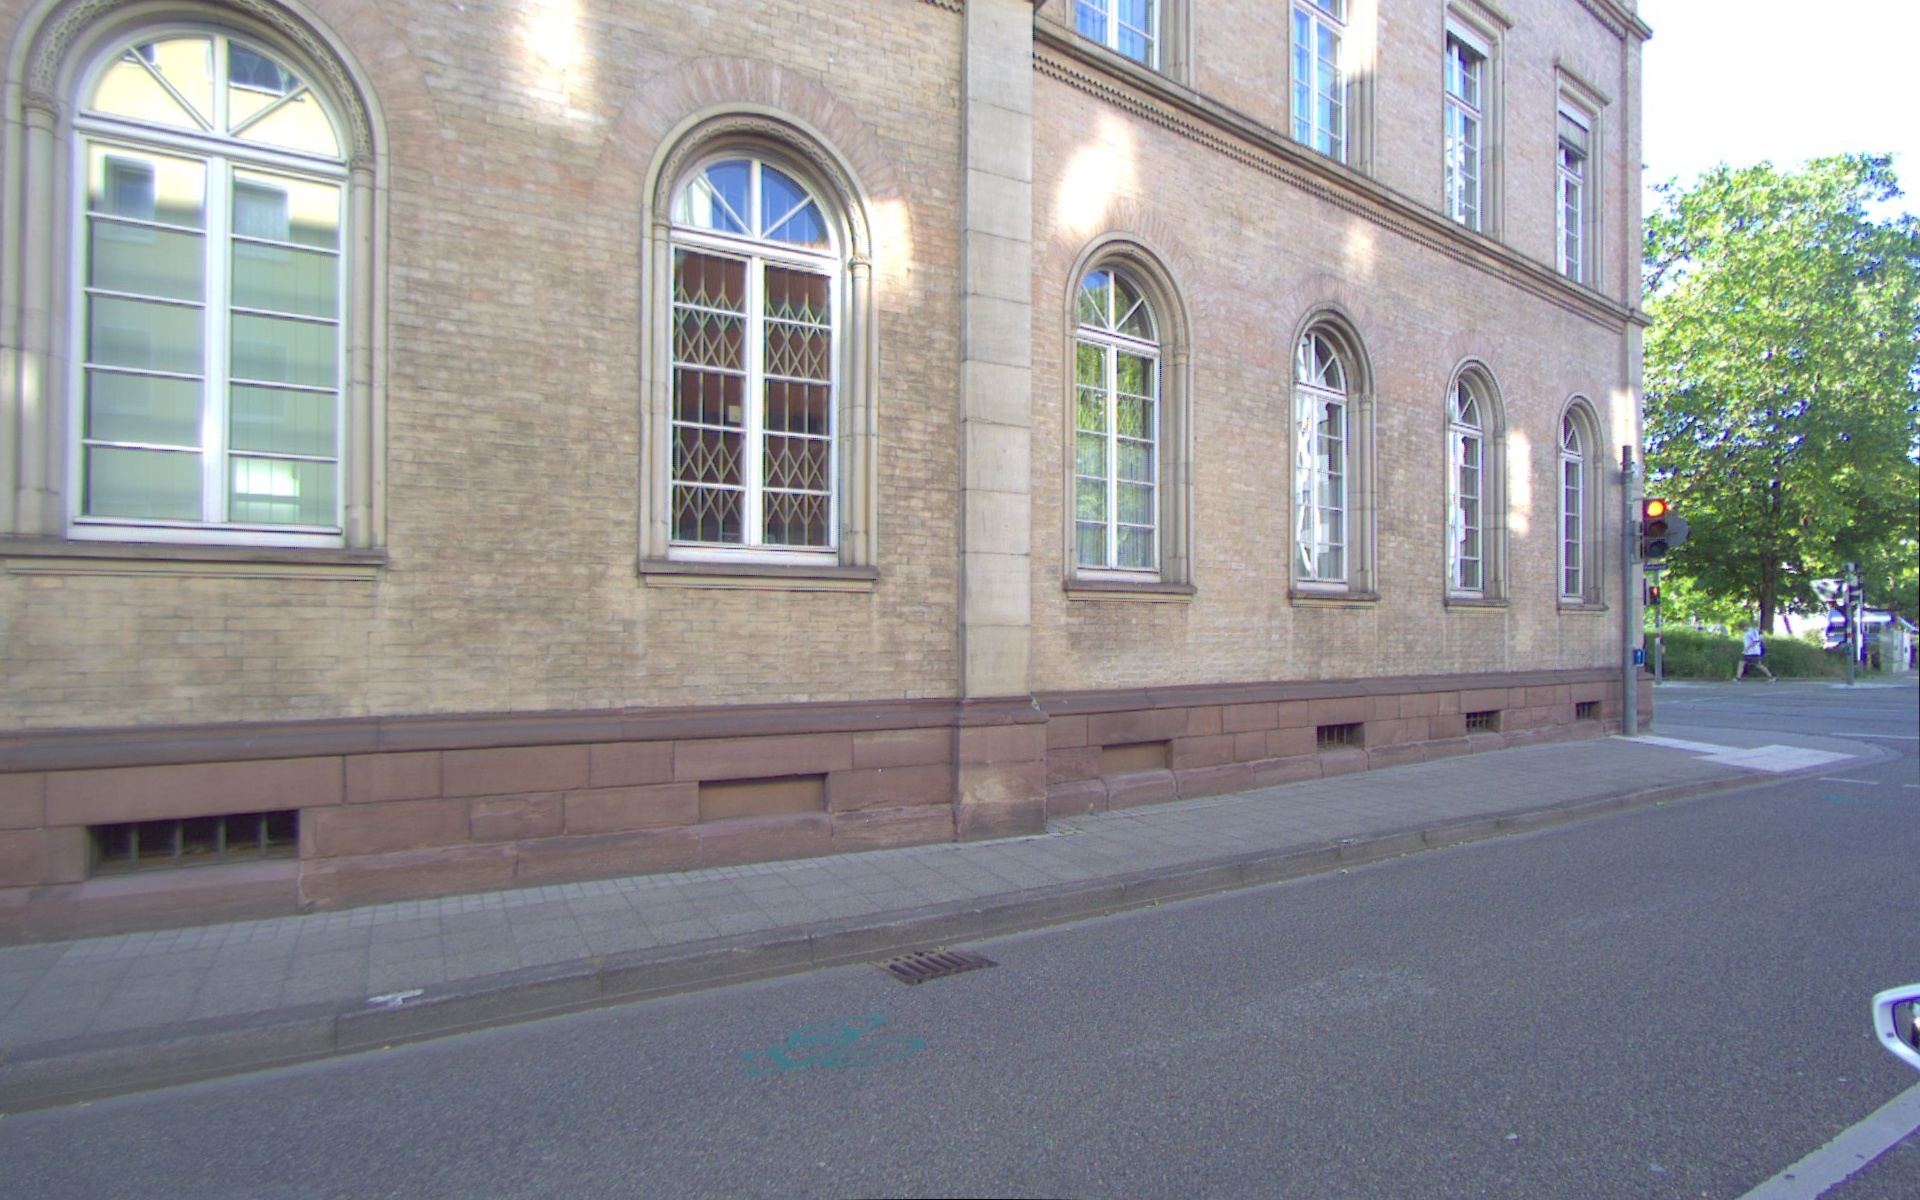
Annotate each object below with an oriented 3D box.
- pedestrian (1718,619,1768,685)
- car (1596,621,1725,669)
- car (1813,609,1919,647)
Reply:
[{"bbox_3d":[23.229,1.531,29.805,0.898,1.893,0.743,2,0,13],"label":"pedestrian"},{"bbox_3d":[24.378,1.527,35.026,1.636,1.476,3.382,2,0,-39],"label":"car"},{"bbox_3d":[53.501,1.618,59.385,1.983,2.040,4.409,2,0,-38],"label":"car"}]
